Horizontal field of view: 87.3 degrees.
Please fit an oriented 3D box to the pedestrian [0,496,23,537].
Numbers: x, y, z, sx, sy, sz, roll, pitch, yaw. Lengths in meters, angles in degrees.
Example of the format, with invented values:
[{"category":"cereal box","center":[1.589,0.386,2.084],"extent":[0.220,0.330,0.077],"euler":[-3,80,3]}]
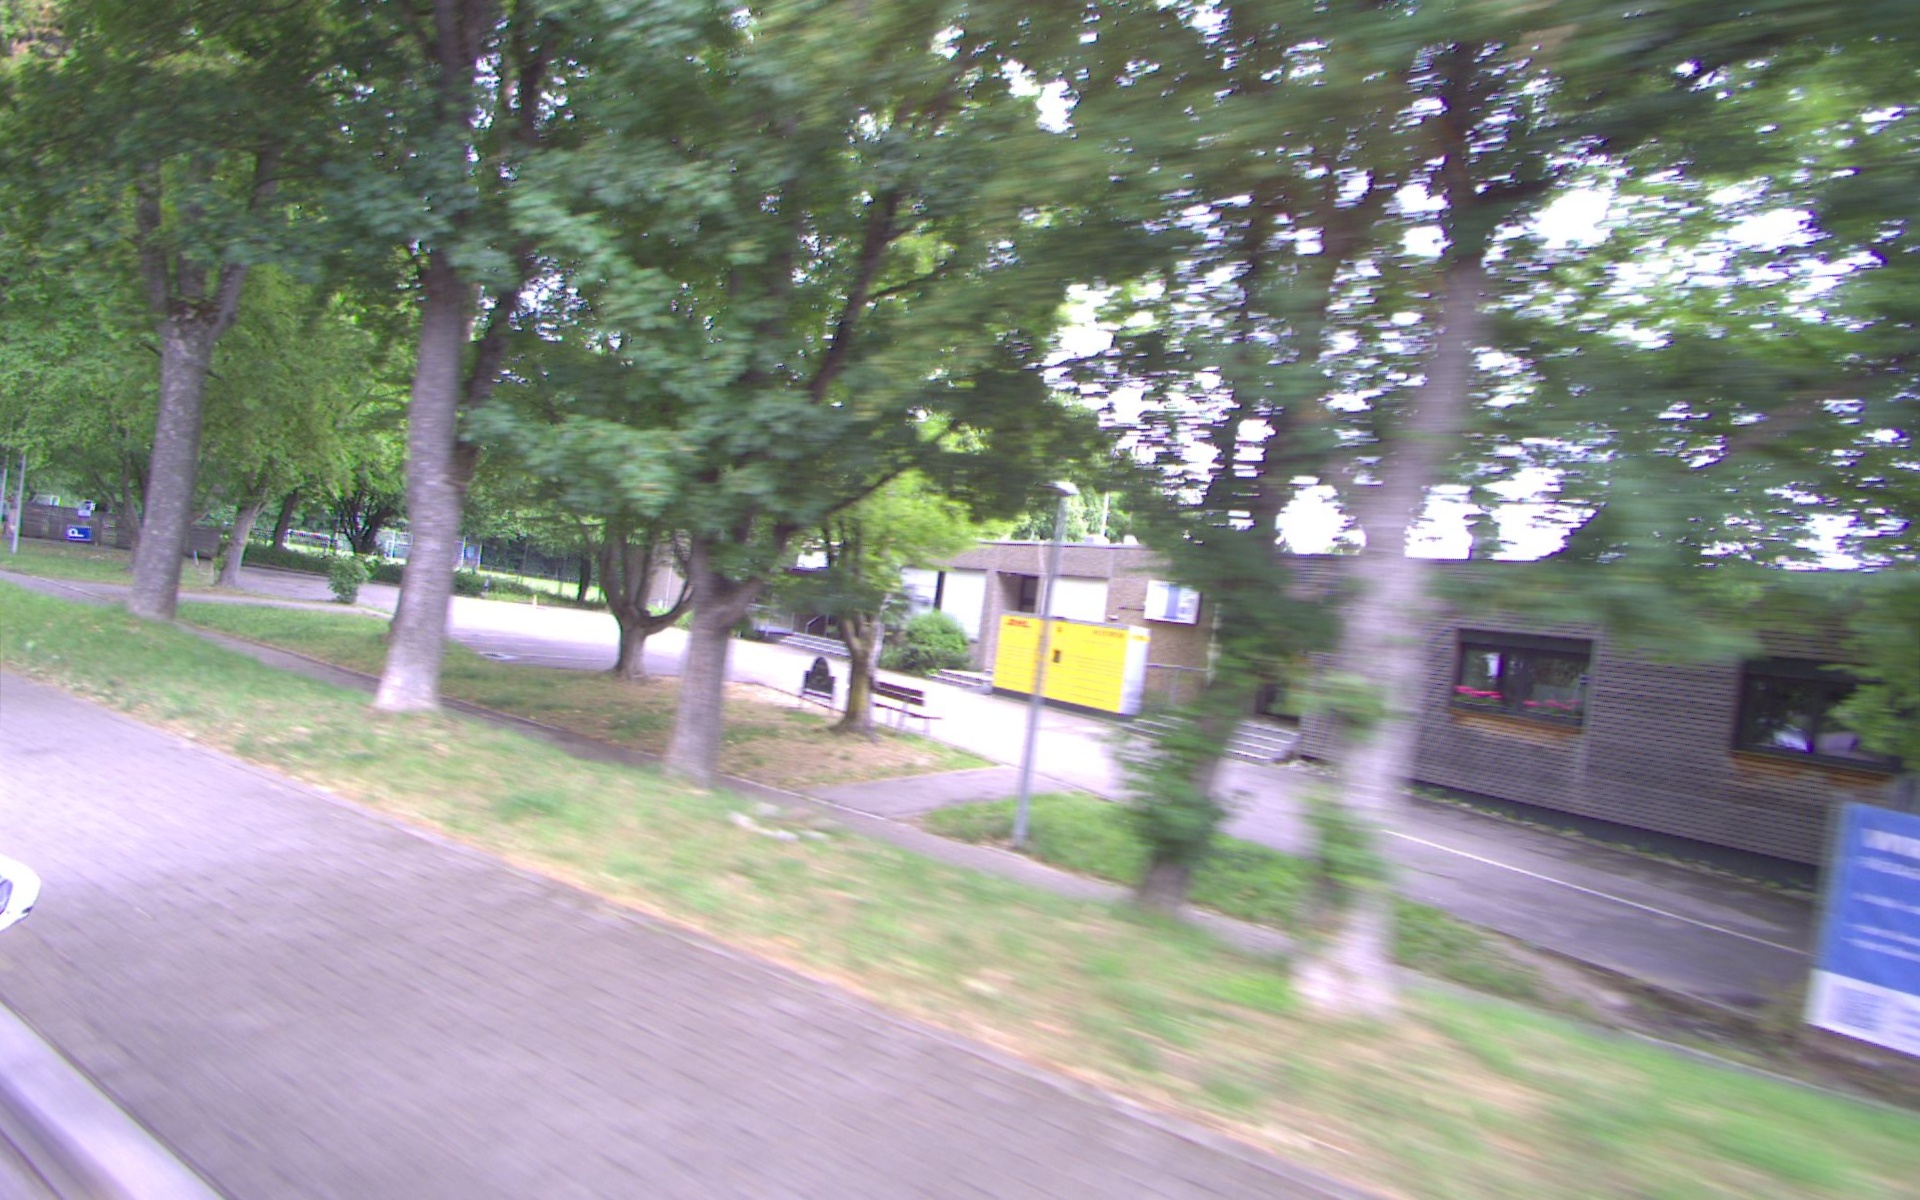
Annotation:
[{"category":"pedestrian","center":[-41.729,-3.680,43.790],"extent":[1.140,1.695,0.786],"euler":[6,0,-34]}]
